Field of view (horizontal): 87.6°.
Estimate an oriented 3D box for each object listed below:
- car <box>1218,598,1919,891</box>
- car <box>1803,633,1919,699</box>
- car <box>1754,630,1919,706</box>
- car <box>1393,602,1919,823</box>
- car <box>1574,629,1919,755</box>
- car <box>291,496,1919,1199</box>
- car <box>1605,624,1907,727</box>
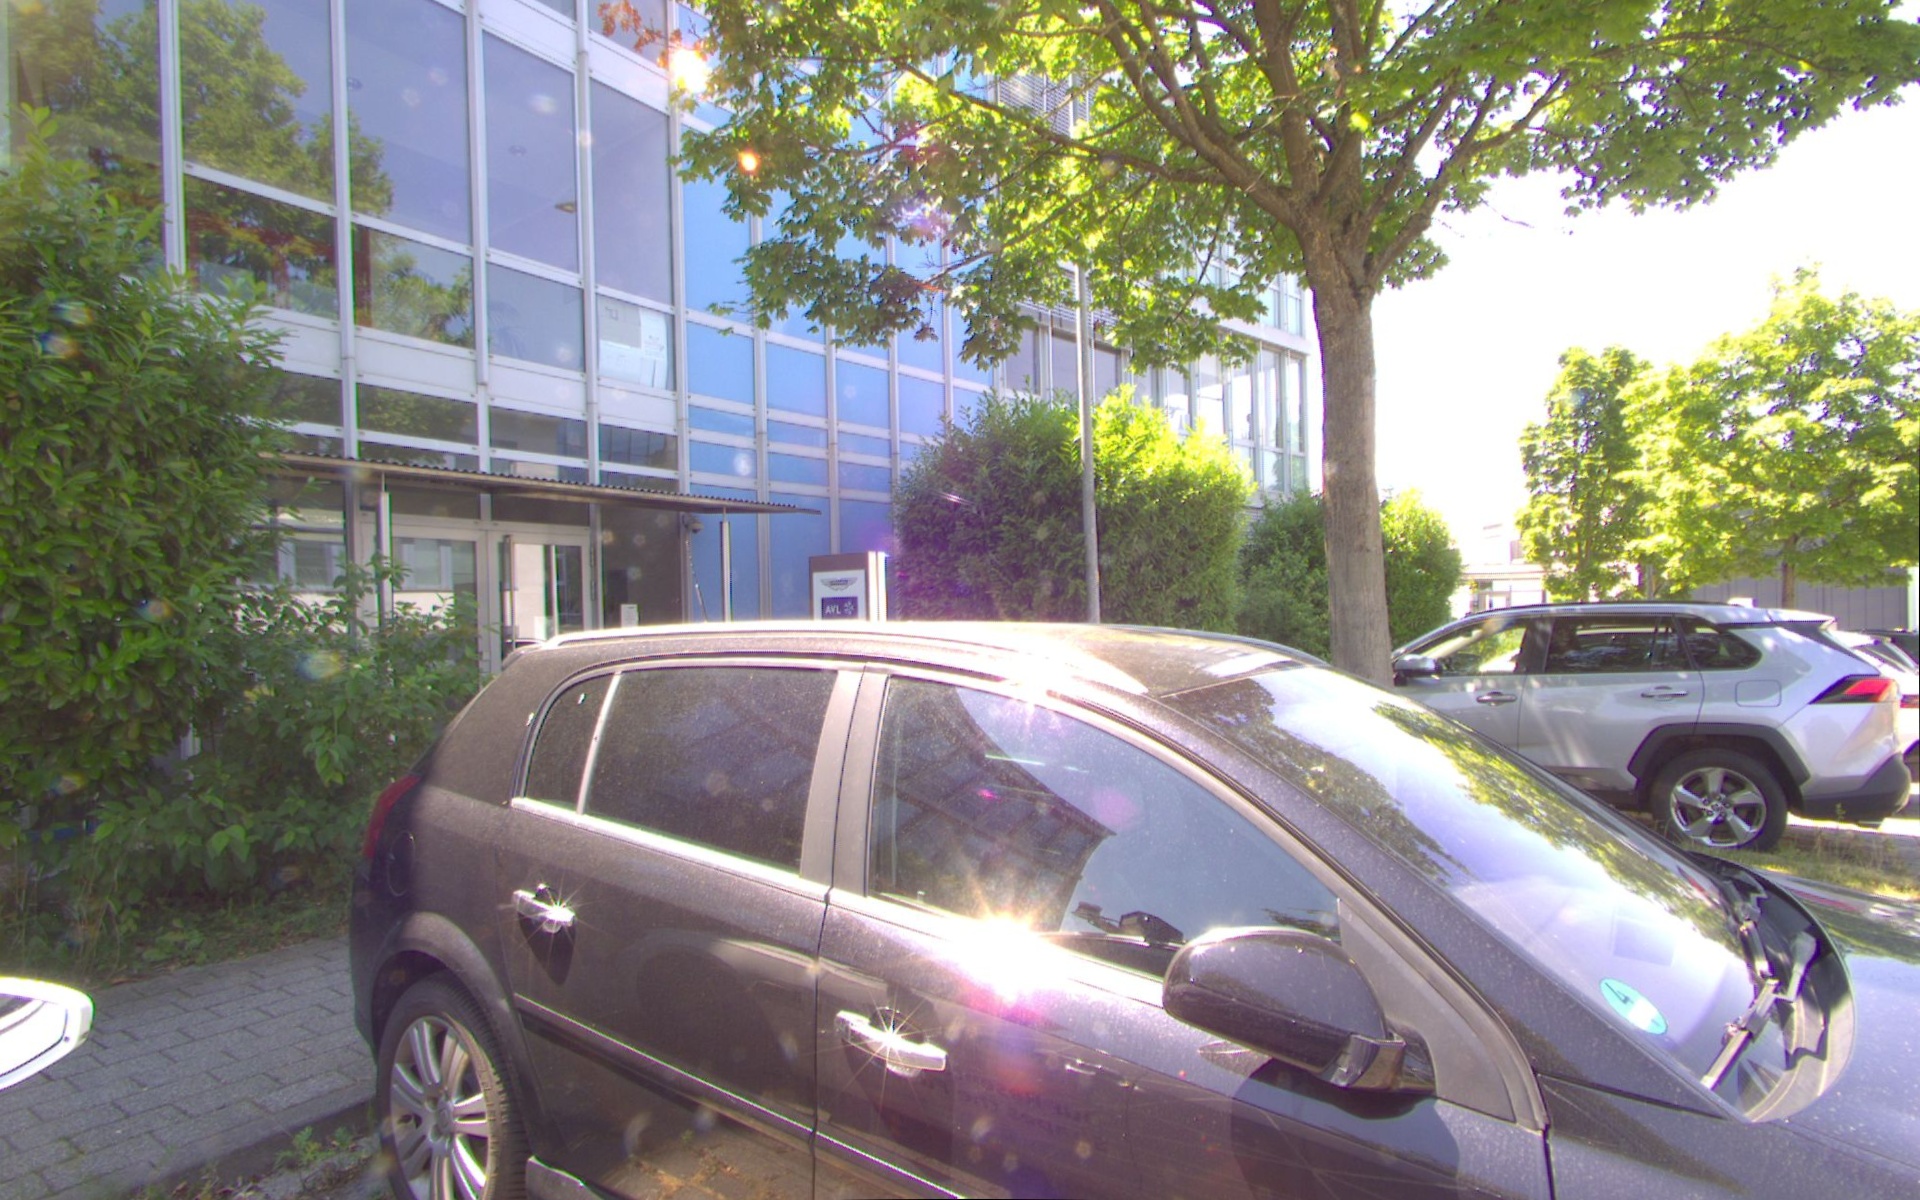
[{"bbox_3d":[4.400,0.847,7.763,4.278,1.664,1.844,0,-1,39],"label":"car"},{"bbox_3d":[22.289,1.540,23.481,1.614,1.462,3.567,1,-1,-34],"label":"car"},{"bbox_3d":[20.220,1.477,22.363,1.614,1.545,3.566,1,-1,-34],"label":"car"},{"bbox_3d":[6.474,0.884,9.375,4.150,1.664,1.649,0,-1,39],"label":"car"},{"bbox_3d":[11.432,1.216,14.422,1.645,1.505,4.136,2,-1,-44],"label":"car"},{"bbox_3d":[0.479,0.739,2.132,4.506,1.569,1.753,-1,-2,36],"label":"car"},{"bbox_3d":[14.693,1.305,18.693,1.641,1.626,4.145,1,-1,-38],"label":"car"}]
